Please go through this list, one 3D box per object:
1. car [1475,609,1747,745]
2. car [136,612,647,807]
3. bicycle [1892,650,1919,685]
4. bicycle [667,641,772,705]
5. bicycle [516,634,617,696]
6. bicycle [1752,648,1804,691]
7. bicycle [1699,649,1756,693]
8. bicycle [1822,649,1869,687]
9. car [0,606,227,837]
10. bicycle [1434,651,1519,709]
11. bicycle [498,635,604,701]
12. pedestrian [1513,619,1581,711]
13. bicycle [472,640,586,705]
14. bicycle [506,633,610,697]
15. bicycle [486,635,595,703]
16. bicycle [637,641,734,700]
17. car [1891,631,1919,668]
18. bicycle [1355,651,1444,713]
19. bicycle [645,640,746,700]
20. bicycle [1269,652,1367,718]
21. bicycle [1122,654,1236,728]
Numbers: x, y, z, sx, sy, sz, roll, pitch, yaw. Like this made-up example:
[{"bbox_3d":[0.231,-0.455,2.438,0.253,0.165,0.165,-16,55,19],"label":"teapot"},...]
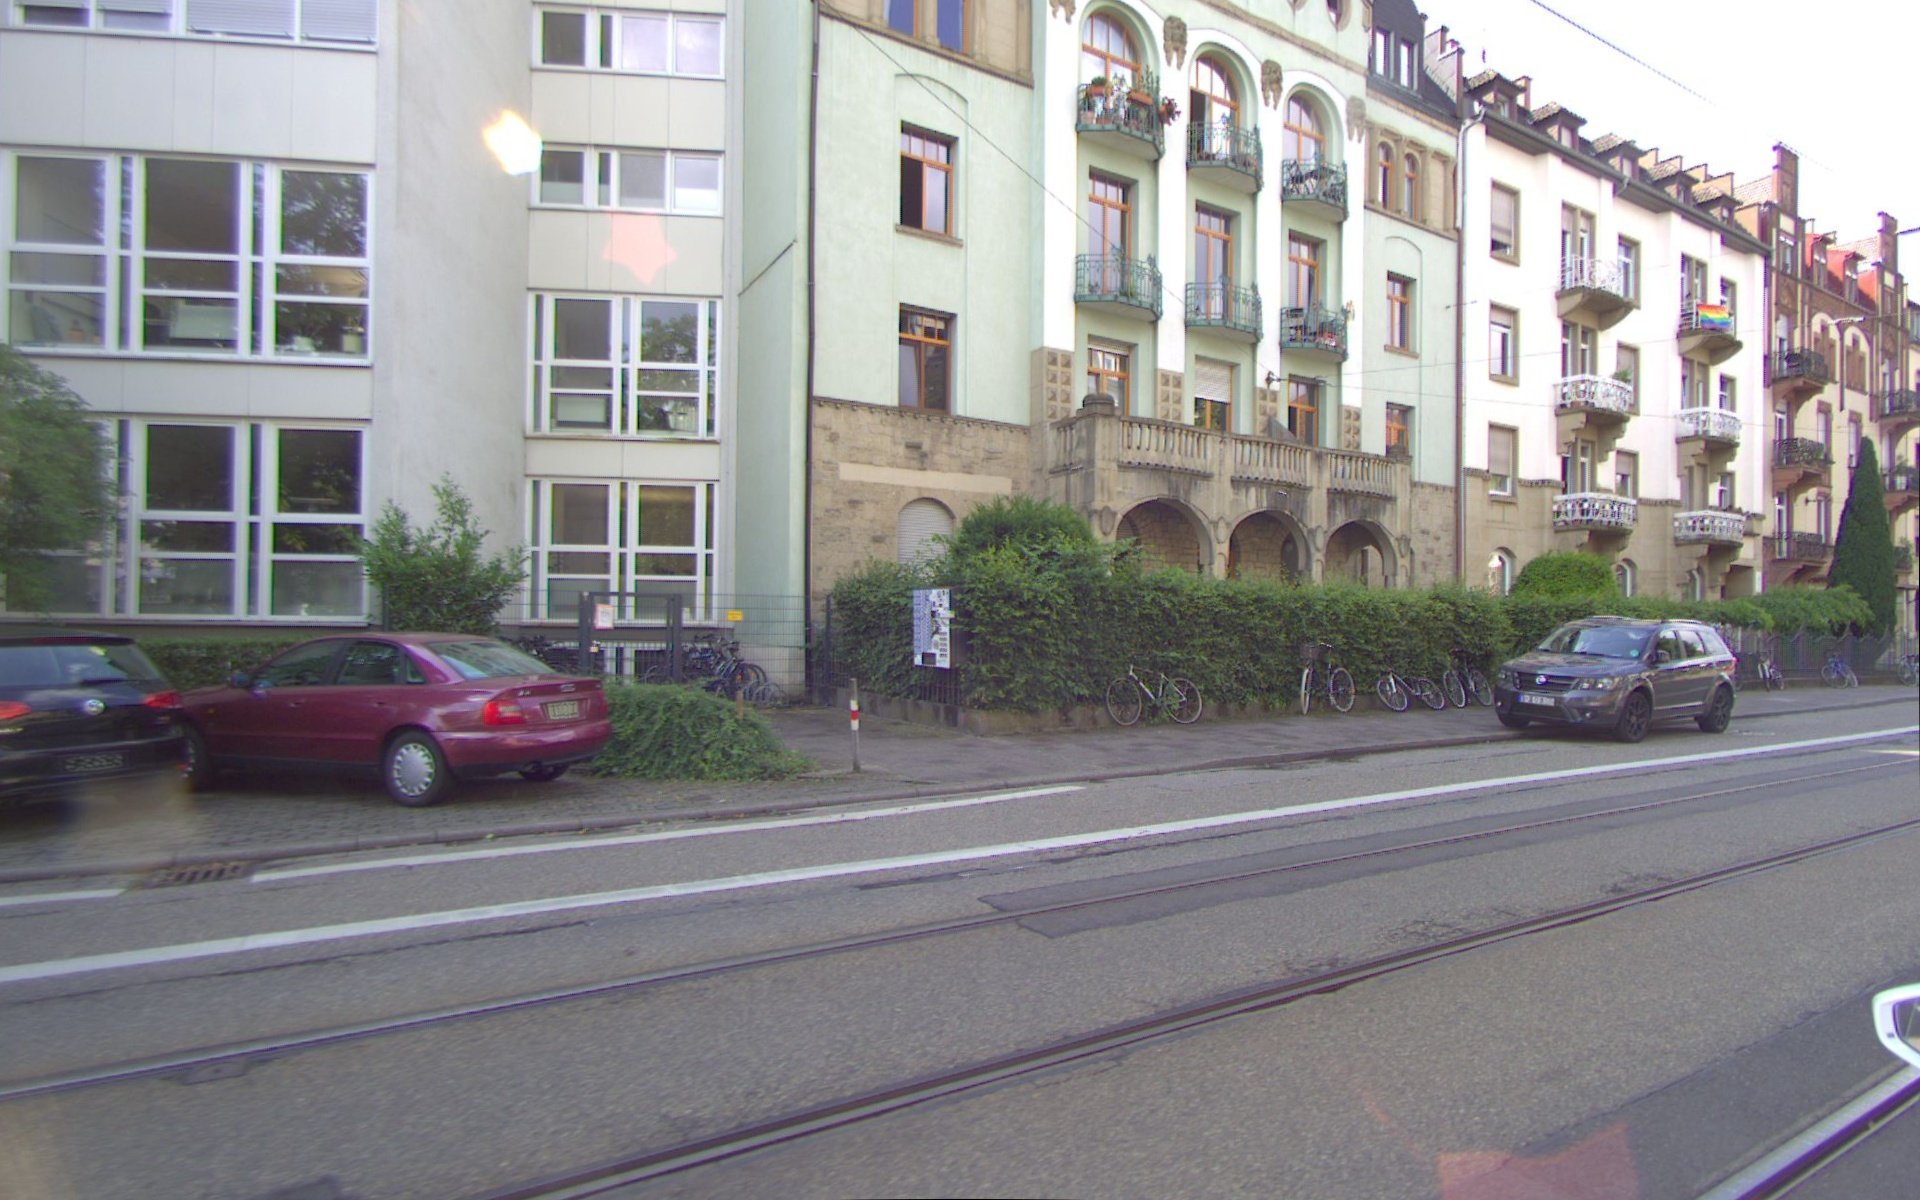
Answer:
[{"bbox_3d":[10.021,1.082,15.346,4.833,1.786,1.774,2,-2,-34],"label":"car"},{"bbox_3d":[-5.094,0.940,9.182,3.891,1.503,1.848,-1,-3,16],"label":"car"},{"bbox_3d":[28.585,2.038,29.921,1.791,0.972,0.509,3,1,-25],"label":"bicycle"},{"bbox_3d":[-4.311,1.297,18.079,1.791,1.078,0.380,1,0,-34],"label":"bicycle"},{"bbox_3d":[-7.653,1.261,19.551,1.775,1.160,0.384,1,0,-4],"label":"bicycle"},{"bbox_3d":[20.185,1.704,24.785,1.780,0.988,0.381,1,0,-30],"label":"bicycle"},{"bbox_3d":[18.038,1.659,23.594,1.780,0.972,0.381,1,0,-30],"label":"bicycle"},{"bbox_3d":[23.880,1.823,27.080,1.685,0.972,0.424,1,0,-30],"label":"bicycle"},{"bbox_3d":[-7.833,0.875,7.737,3.732,1.503,1.698,-2,-3,19],"label":"car"},{"bbox_3d":[9.281,1.420,18.018,1.898,0.972,0.381,1,0,-30],"label":"bicycle"},{"bbox_3d":[-7.585,1.251,18.653,1.775,1.160,0.384,1,0,-4],"label":"bicycle"},{"bbox_3d":[10.552,1.157,18.058,0.871,1.589,0.677,2,1,-29],"label":"pedestrian"},{"bbox_3d":[-7.538,1.268,17.606,1.775,1.078,0.384,1,0,-4],"label":"bicycle"},{"bbox_3d":[-7.629,1.228,19.102,1.775,1.160,0.384,1,0,-4],"label":"bicycle"},{"bbox_3d":[-7.585,1.251,18.205,1.775,1.160,0.384,1,0,-4],"label":"bicycle"},{"bbox_3d":[-5.324,1.352,19.555,1.791,1.078,0.380,1,0,-34],"label":"bicycle"},{"bbox_3d":[41.585,2.139,42.212,1.658,1.533,3.223,2,0,-28],"label":"car"},{"bbox_3d":[7.445,1.369,16.971,1.788,0.972,0.381,1,0,-30],"label":"bicycle"},{"bbox_3d":[-4.950,1.296,18.866,1.791,1.078,0.380,1,0,-34],"label":"bicycle"},{"bbox_3d":[5.679,1.327,15.896,1.788,0.972,0.381,1,0,-30],"label":"bicycle"},{"bbox_3d":[3.129,1.277,14.270,1.788,0.972,0.381,1,0,-30],"label":"bicycle"}]
